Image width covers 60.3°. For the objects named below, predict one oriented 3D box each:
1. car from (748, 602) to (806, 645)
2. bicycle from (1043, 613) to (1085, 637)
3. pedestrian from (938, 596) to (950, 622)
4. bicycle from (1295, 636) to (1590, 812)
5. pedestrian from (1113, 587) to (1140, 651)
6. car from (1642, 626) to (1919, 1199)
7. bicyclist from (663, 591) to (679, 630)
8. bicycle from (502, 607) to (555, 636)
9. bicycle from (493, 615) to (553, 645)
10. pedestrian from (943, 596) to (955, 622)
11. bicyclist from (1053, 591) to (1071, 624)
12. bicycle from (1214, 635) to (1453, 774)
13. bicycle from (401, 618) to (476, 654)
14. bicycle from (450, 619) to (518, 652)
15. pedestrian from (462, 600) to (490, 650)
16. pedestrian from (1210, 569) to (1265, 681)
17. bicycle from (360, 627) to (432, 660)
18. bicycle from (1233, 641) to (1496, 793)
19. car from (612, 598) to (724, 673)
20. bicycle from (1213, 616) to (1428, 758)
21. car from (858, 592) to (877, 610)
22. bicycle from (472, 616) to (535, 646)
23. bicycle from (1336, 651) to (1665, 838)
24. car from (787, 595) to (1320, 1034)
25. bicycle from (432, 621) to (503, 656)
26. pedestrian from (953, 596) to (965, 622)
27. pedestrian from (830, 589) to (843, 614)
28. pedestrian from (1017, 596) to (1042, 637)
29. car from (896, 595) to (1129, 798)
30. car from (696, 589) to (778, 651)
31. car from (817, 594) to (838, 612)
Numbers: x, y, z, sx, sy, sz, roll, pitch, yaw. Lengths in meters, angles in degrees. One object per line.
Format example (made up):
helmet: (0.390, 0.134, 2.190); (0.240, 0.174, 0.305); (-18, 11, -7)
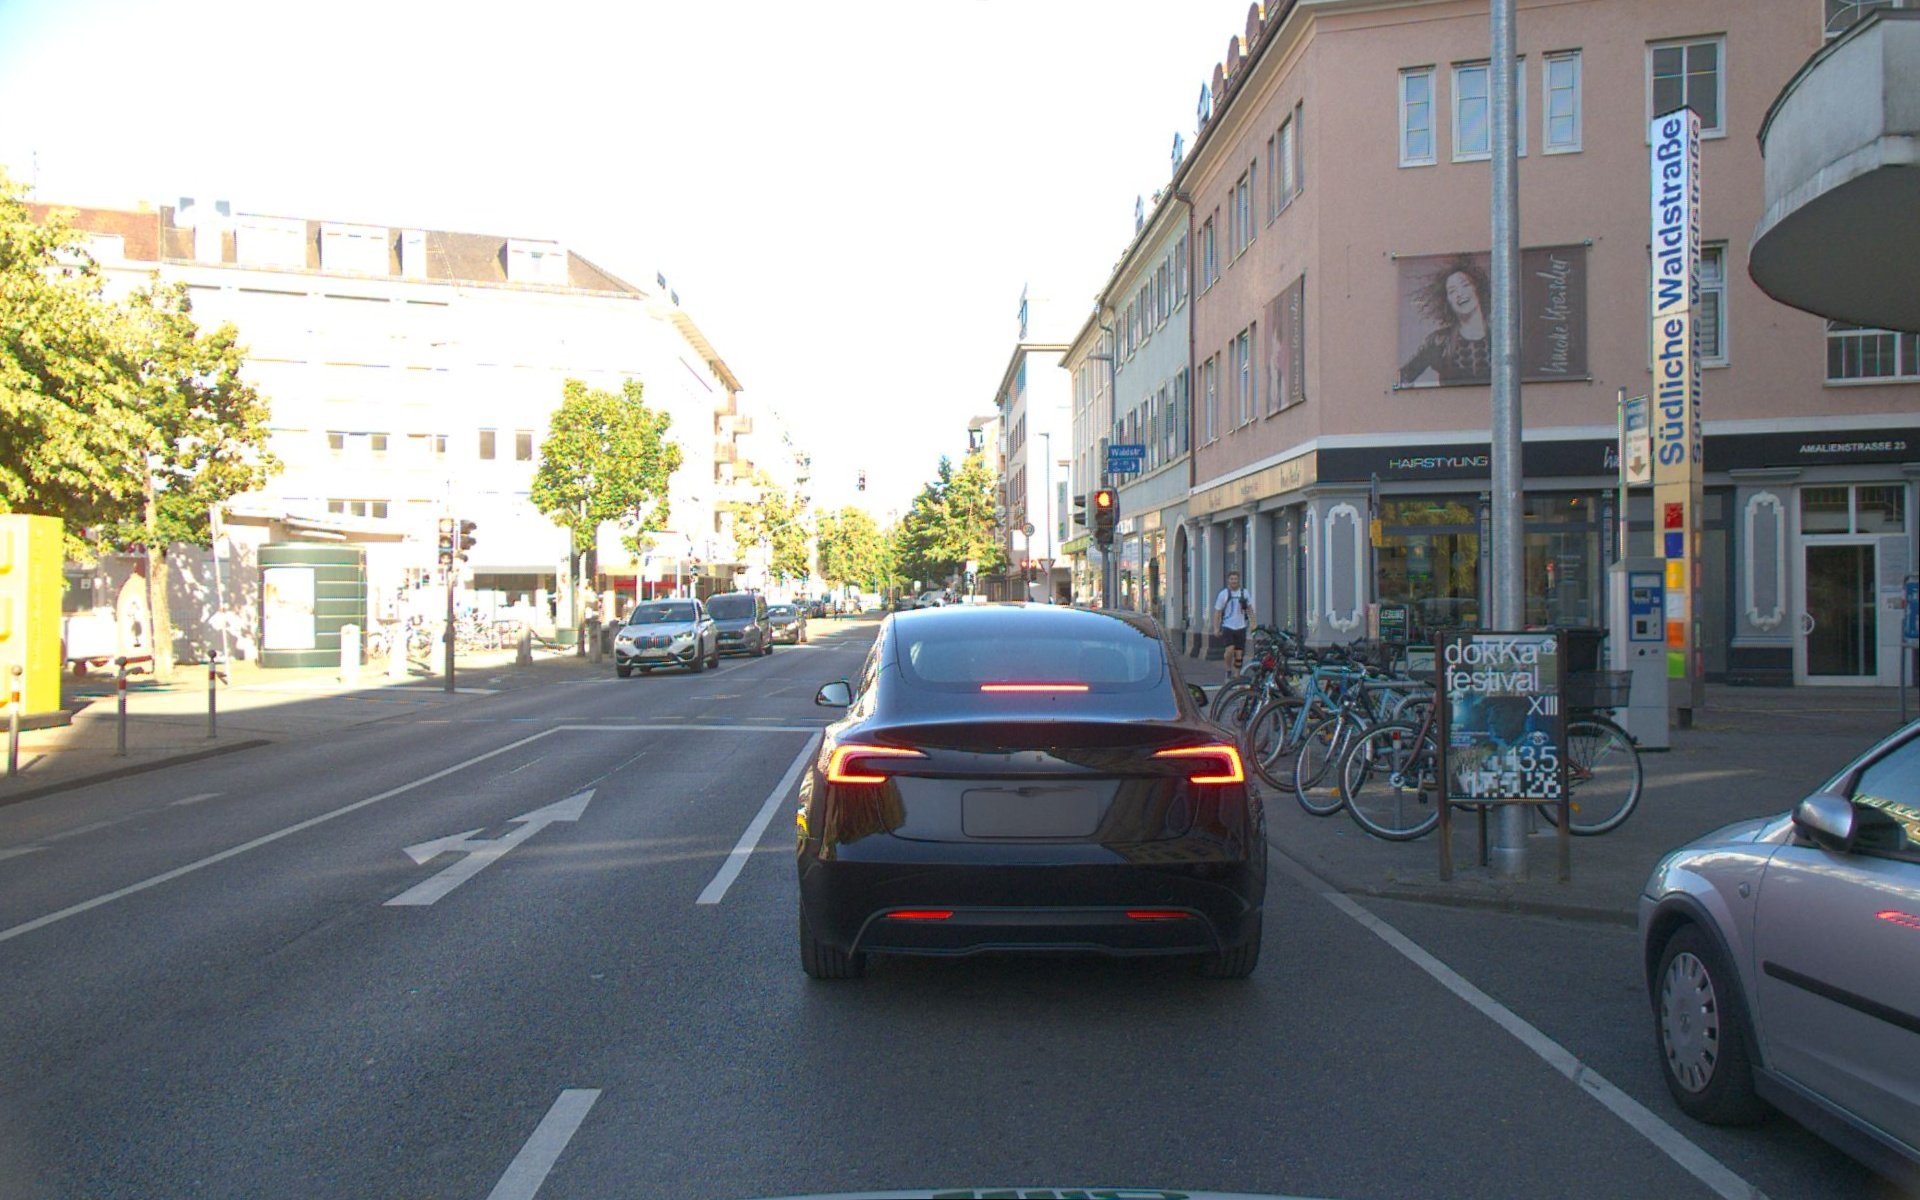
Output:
car: (-6.588, 0.832, 59.906); (1.680, 1.471, 3.844); (1, 0, -1)
bicycle: (4.496, 1.077, 71.335); (1.756, 1.024, 0.469); (1, -1, -17)
pedestrian: (-0.896, 0.512, 94.989); (0.467, 1.442, 0.516); (1, -1, -32)
bicycle: (3.243, 0.833, 11.196); (1.834, 1.106, 0.414); (-2, -1, 3)
pedestrian: (4.642, 0.517, 46.107); (0.692, 1.773, 0.540); (0, 0, -1)
car: (2.912, 0.785, 3.493); (1.515, 1.415, 3.476); (0, 0, 0)
bicyclist: (-11.501, 0.404, 65.888); (0.516, 1.530, 0.472); (1, -1, -24)
bicycle: (-20.240, 1.029, 77.590); (2.334, 1.318, 0.509); (1, -1, -27)
bicycle: (-14.363, 0.982, 54.367); (1.826, 0.950, 0.606); (0, 0, -2)
pedestrian: (-0.610, 0.496, 94.214); (0.516, 1.447, 0.474); (1, -1, -31)
bicyclist: (4.393, 0.329, 71.304); (0.659, 1.420, 0.460); (1, -1, -17)
bicycle: (3.058, 0.854, 13.654); (1.833, 1.056, 0.548); (-2, -1, 5)
bicycle: (-14.174, 0.977, 44.969); (1.826, 0.950, 0.606); (1, 0, -2)
bicycle: (-14.274, 1.052, 49.634); (1.826, 0.950, 0.606); (1, 0, -2)
pedestrian: (-20.215, 1.039, 69.030); (1.041, 2.049, 1.049); (1, -1, -20)
pedestrian: (4.590, 0.416, 27.398); (0.735, 1.796, 0.837); (-2, -1, 3)
bicycle: (-14.449, 1.116, 42.385); (1.612, 0.806, 0.606); (1, 0, -5)
bicycle: (3.025, 0.869, 12.475); (1.834, 1.056, 0.533); (-2, -1, 3)
car: (-6.287, 0.746, 36.003); (1.752, 1.485, 3.756); (-2, 0, -1)
bicycle: (3.201, 0.772, 14.776); (1.789, 1.189, 0.506); (-2, -1, 5)
car: (-10.469, 0.129, 186.988); (1.953, 2.049, 3.999); (0, 0, -1)
bicycle: (-14.328, 0.973, 51.919); (1.826, 0.950, 0.606); (0, 0, -2)
bicycle: (3.247, 0.871, 10.021); (1.833, 1.056, 0.353); (-2, -1, 6)
car: (0.289, 0.727, 7.547); (1.785, 1.467, 3.999); (0, 0, -1)
bicycle: (-14.037, 1.091, 47.164); (1.826, 0.950, 0.606); (1, 0, -2)
pedestrian: (-0.061, 0.523, 94.982); (0.516, 1.447, 0.474); (1, -1, -31)
pedestrian: (-8.375, 0.113, 112.132); (0.831, 1.725, 0.717); (0, 0, -4)
pedestrian: (2.925, 0.688, 69.370); (0.742, 1.660, 0.951); (1, -1, -18)
car: (0.311, 0.691, 13.816); (1.683, 1.450, 3.755); (0, 0, -2)
car: (-6.241, 0.539, 46.679); (1.751, 1.675, 4.401); (0, 0, -1)
car: (-11.636, 0.229, 145.817); (1.672, 1.579, 3.695); (0, 0, -2)
